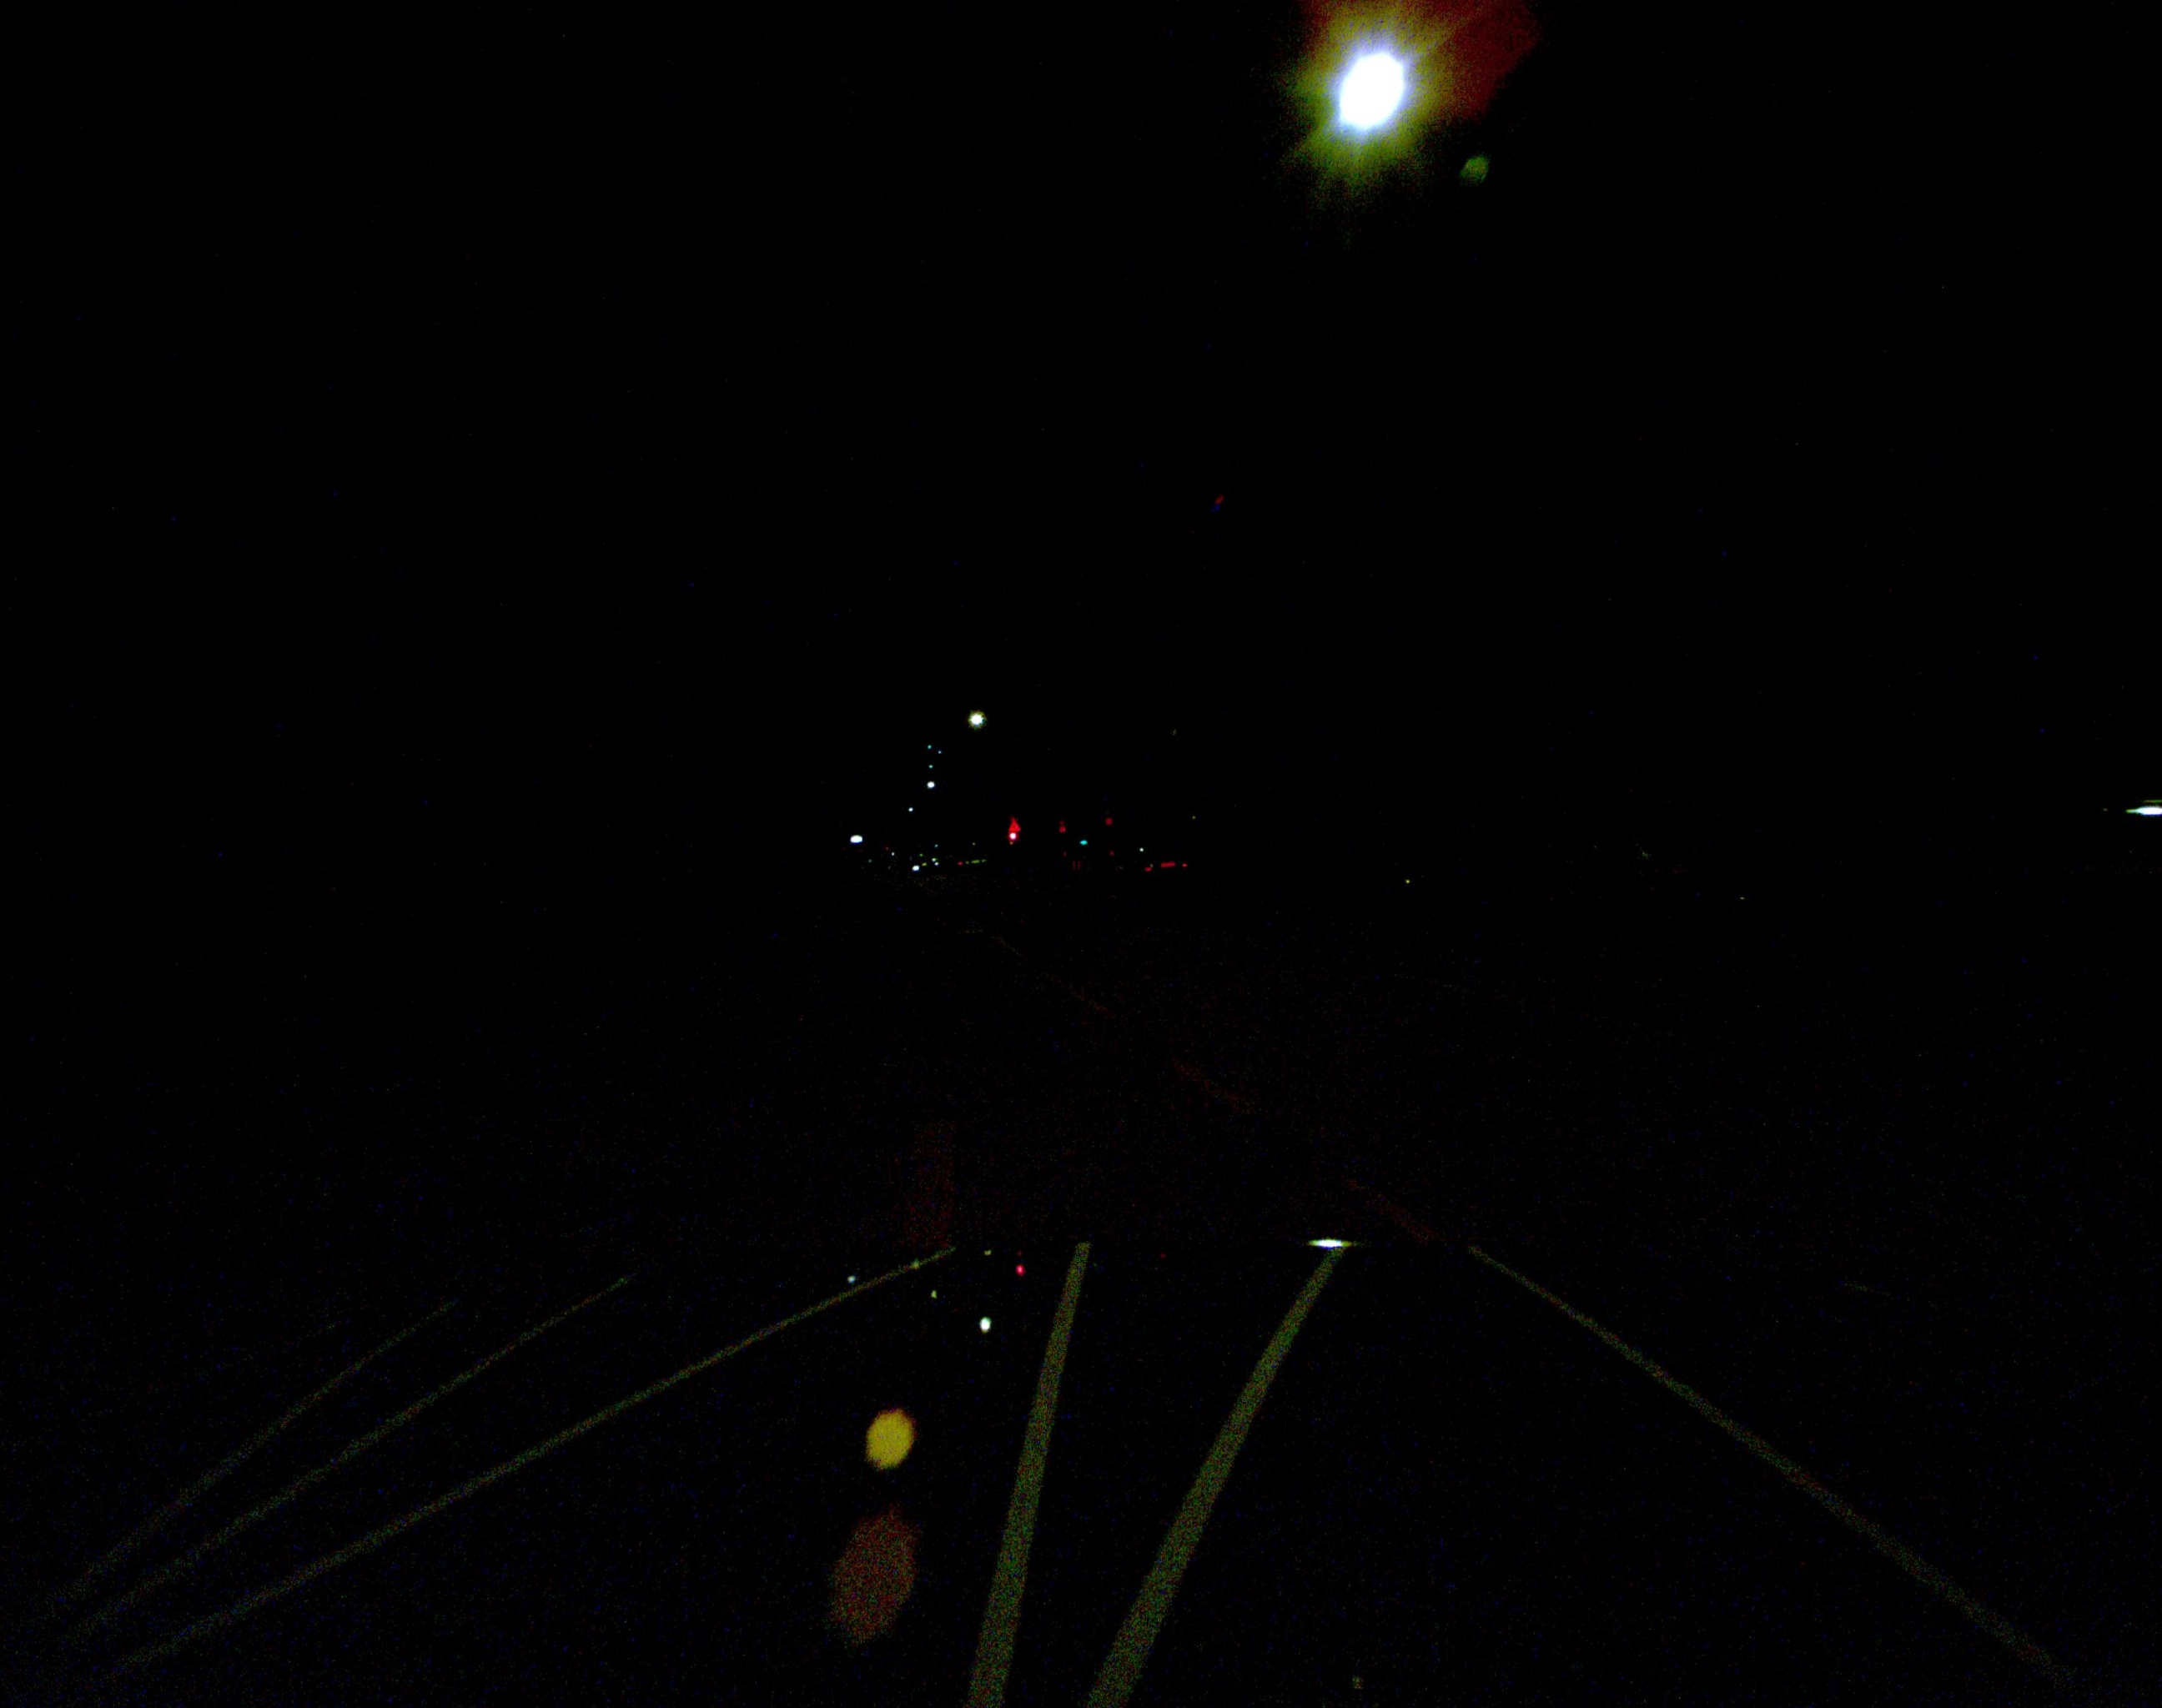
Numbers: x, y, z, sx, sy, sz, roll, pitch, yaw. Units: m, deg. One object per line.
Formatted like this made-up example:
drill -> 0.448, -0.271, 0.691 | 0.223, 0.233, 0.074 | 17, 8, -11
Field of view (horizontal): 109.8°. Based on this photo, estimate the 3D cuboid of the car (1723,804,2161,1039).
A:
car -> 7.554, 0.408, 5.434 | 1.557, 1.425, 4.342 | -6, 1, -15

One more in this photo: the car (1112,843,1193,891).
car -> 2.404, 0.429, 26.207 | 1.634, 1.455, 3.510 | -3, 1, -14

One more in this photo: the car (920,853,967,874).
car -> -12.241, 0.818, 67.667 | 4.000, 1.622, 1.872 | -3, 1, -10

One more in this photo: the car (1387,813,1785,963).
car -> 6.308, 0.354, 10.206 | 1.644, 1.425, 4.344 | -6, 1, -16
